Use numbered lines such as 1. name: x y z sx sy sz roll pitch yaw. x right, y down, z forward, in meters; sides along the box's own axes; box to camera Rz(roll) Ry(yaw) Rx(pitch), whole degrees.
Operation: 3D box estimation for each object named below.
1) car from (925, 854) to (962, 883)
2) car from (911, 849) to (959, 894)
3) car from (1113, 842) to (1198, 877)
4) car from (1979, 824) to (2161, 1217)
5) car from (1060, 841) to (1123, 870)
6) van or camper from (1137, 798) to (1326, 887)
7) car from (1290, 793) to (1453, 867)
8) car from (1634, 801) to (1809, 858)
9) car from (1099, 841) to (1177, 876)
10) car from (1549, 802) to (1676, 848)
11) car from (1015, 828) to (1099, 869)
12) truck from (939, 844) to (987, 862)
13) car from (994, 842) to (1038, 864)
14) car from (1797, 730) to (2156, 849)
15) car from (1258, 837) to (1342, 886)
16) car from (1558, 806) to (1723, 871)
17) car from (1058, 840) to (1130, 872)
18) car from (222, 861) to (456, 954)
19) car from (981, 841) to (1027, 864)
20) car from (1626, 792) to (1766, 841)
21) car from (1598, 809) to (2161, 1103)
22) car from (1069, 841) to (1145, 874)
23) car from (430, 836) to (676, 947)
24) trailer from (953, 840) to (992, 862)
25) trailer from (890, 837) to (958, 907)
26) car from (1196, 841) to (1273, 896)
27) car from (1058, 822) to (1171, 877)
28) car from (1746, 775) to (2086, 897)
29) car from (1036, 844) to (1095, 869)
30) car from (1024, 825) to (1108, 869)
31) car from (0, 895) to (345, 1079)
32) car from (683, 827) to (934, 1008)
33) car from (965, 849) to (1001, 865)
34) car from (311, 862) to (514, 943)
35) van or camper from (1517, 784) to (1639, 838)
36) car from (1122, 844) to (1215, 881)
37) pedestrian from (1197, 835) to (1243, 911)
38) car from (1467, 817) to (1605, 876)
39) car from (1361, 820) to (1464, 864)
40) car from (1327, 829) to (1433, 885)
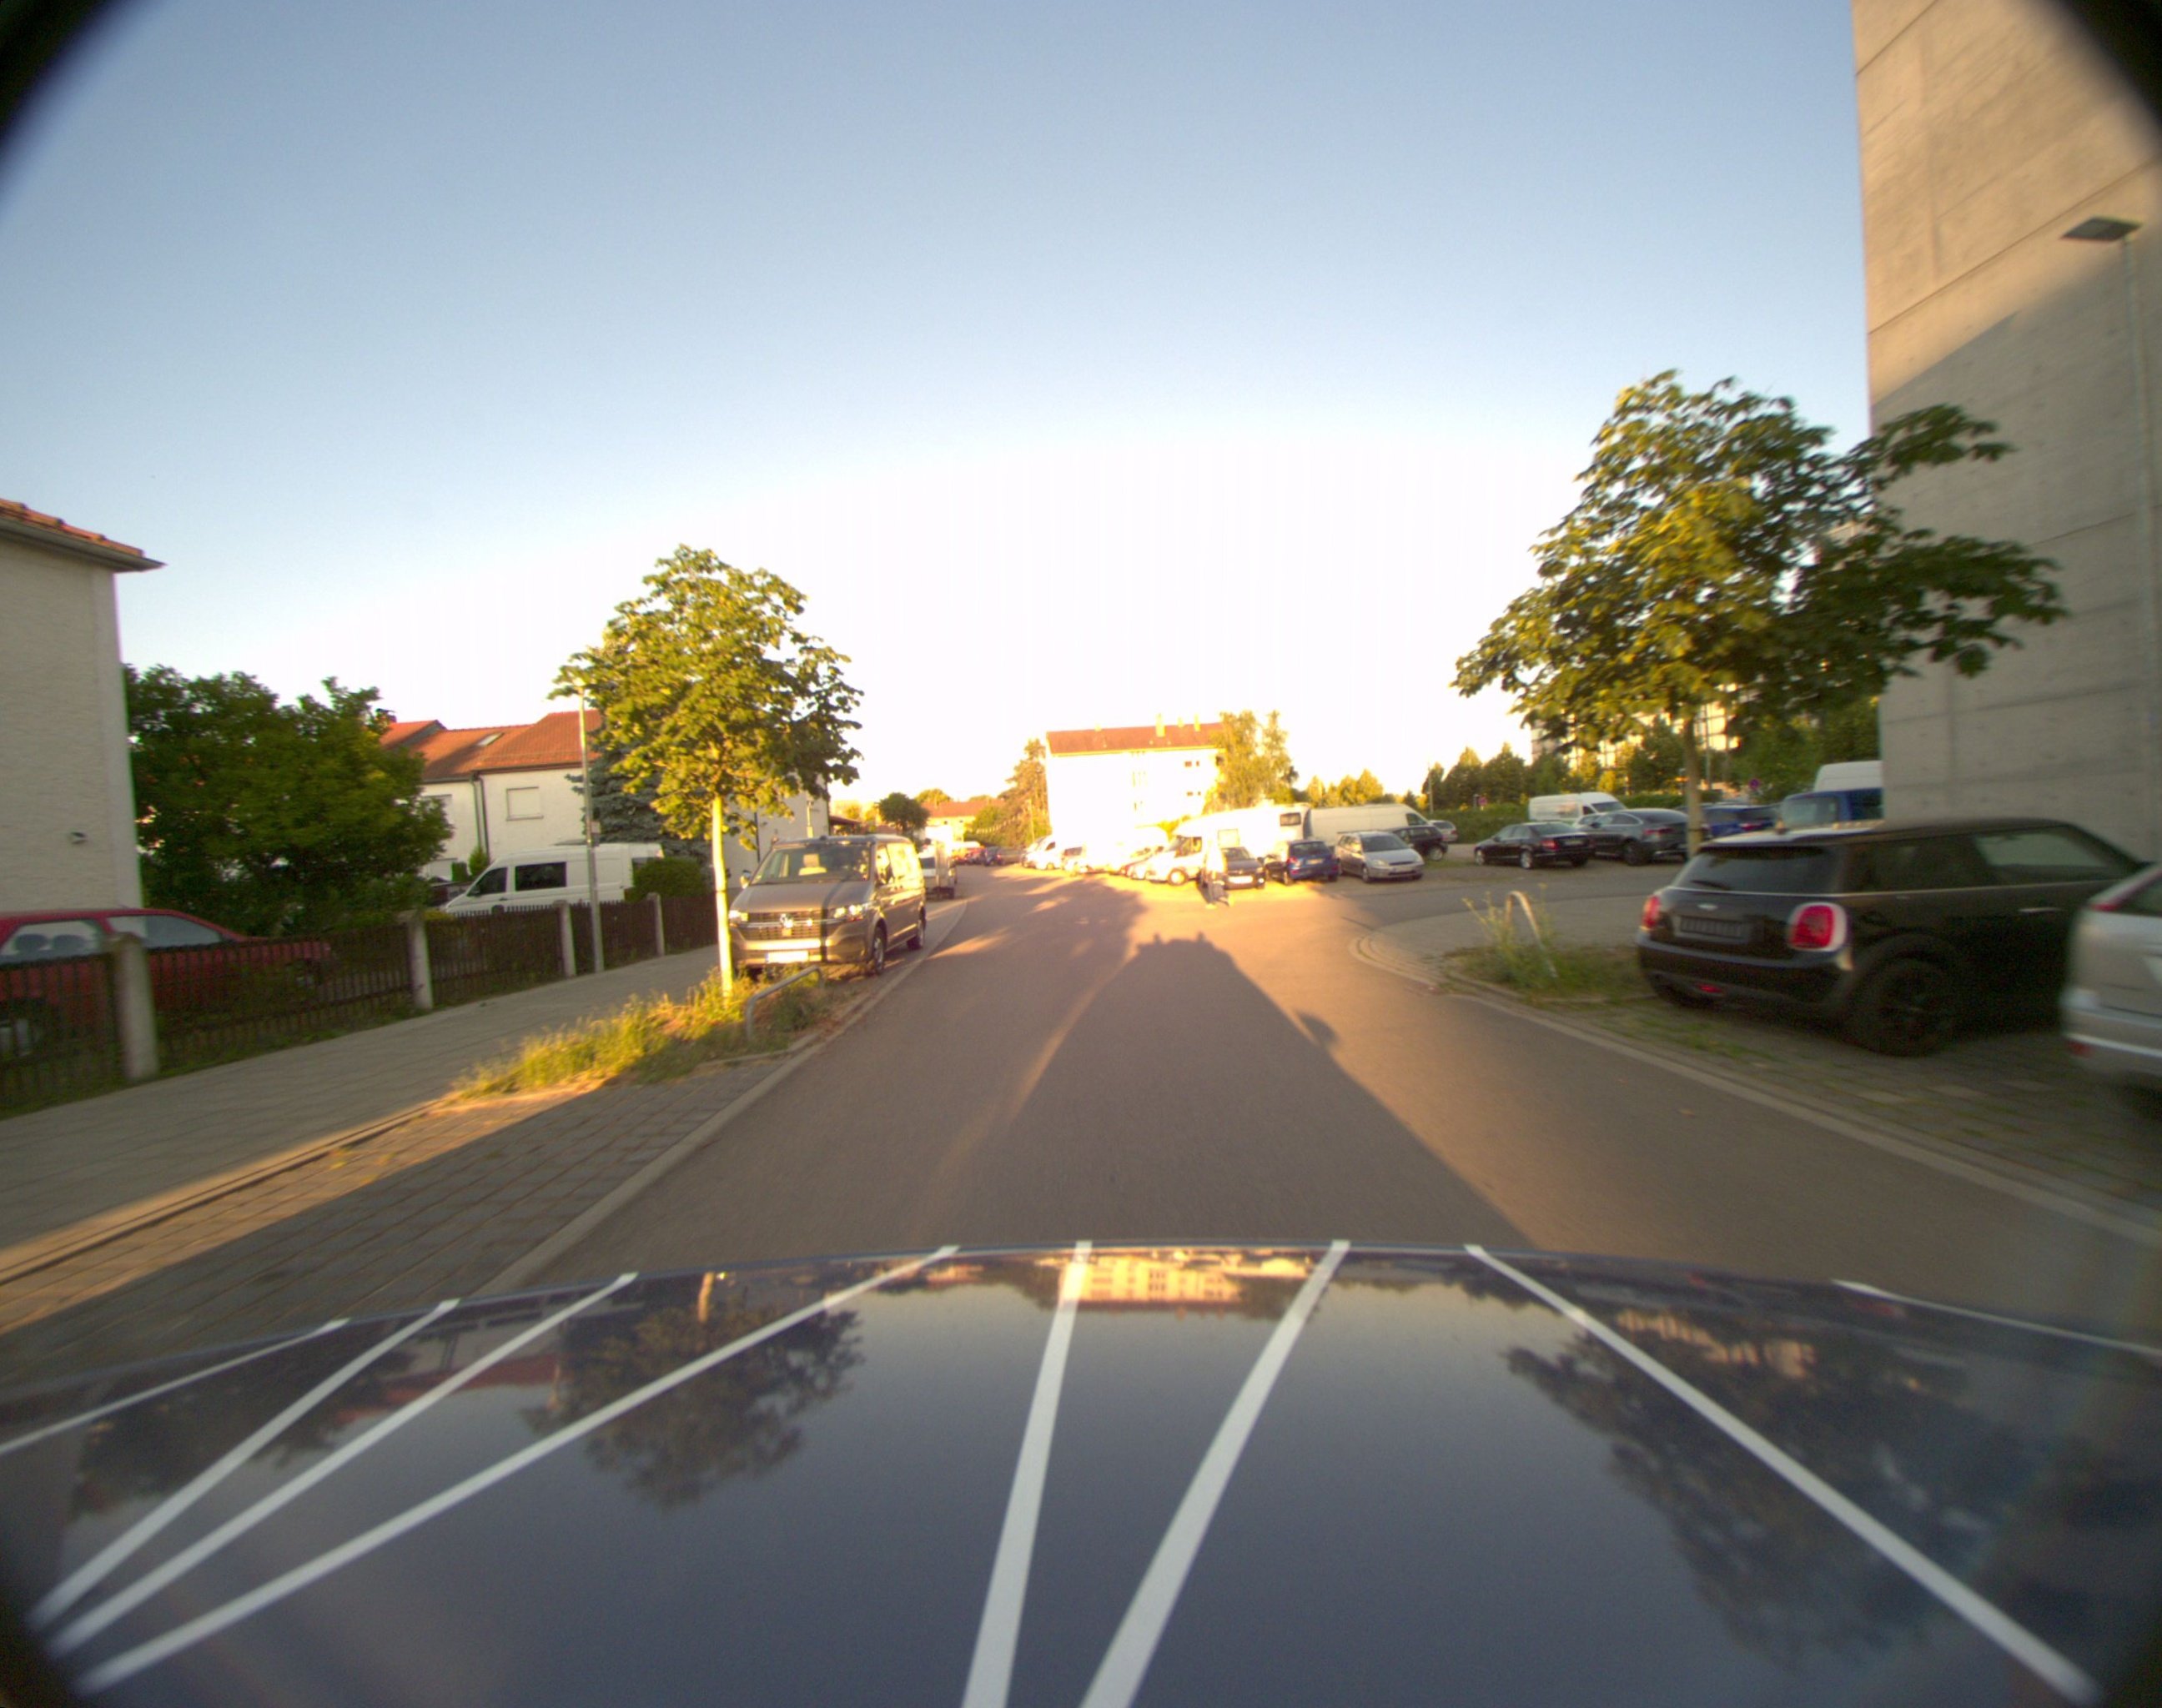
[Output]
1. car: -7.945 0.797 44.223 1.709 1.510 4.085 -3 1 -6
2. car: -6.582 0.717 34.638 1.776 1.820 4.404 -3 1 -7
3. car: 3.659 0.271 37.592 3.739 1.359 1.703 -5 2 -13
4. car: 6.345 0.531 2.794 4.097 1.520 1.845 -5 1 -4
5. car: 0.656 0.089 50.770 3.937 1.582 1.747 -4 2 -6
6. van or camper: 5.852 -0.462 30.028 6.760 2.881 2.407 -5 2 -6
7. car: 12.793 -1.070 33.680 6.260 2.658 2.222 -5 2 -4
8. car: 19.859 -0.848 23.840 1.667 1.492 4.401 -5 4 -1
9. car: 2.983 0.209 40.194 3.641 1.510 1.703 -5 2 -13
10. car: 20.373 -1.052 29.376 1.667 1.491 4.404 -5 1 -1
11. car: -1.956 -0.507 62.543 6.413 2.698 2.109 -6 3 -21
12. truck: -15.950 -0.171 102.988 6.034 2.032 2.352 -4 2 -17
13. car: -6.245 -0.097 73.016 3.939 1.643 1.746 -6 2 -12
14. car: 25.535 -1.662 22.345 2.212 2.786 6.982 -4 1 0
15. car: 7.308 0.192 25.675 1.667 1.414 3.721 -4 1 0
16. car: 16.900 -0.563 23.254 1.667 1.613 4.401 -5 4 -1
17. car: 0.801 0.129 48.074 4.140 1.582 1.745 -6 3 -13
18. car: -23.672 1.662 24.366 5.576 2.499 2.054 -4 0 4
19. car: -7.600 -0.128 75.161 3.942 1.901 1.744 -6 2 -27
20. car: 23.463 -1.386 29.254 1.667 1.612 4.404 -5 2 -1
21. car: 6.181 0.559 5.432 3.745 1.473 1.769 -5 1 -4
22. car: 1.546 0.179 45.947 4.140 1.582 1.746 -6 3 -11
23. car: -14.983 1.037 21.766 5.576 2.677 2.054 -4 0 4
24. trailer: -14.320 -0.364 100.369 4.809 2.420 2.131 -5 3 -13
25. trailer: -5.600 0.586 27.675 2.071 2.199 5.218 -3 1 -9
26. car: 5.022 0.409 25.470 1.690 1.510 4.360 -5 2 2
27. car: 1.871 -0.307 43.506 5.907 2.520 2.409 -6 3 -9
28. car: 15.125 -0.303 13.947 4.096 1.820 1.848 -4 0 0
29. car: -1.168 0.142 55.659 3.939 1.499 1.787 -5 2 -14
30. car: -1.172 -0.542 58.288 5.847 2.698 2.048 -6 2 -16
31. car: -10.359 1.304 7.980 1.532 1.436 3.640 -3 1 2
32. car: -3.758 0.735 11.619 2.071 2.083 4.870 -3 1 -1
33. car: -11.801 0.356 91.658 4.050 1.611 1.847 -4 2 -11
34. car: -23.679 1.680 27.040 5.456 2.430 2.054 -4 0 4
35. van or camper: 28.100 -2.323 43.354 2.020 2.675 6.635 -5 2 -5
36. car: 4.002 0.371 34.907 3.820 1.321 1.691 -5 2 -11
37. pedestrian: 3.522 0.471 19.328 0.901 1.840 0.856 -3 1 -1
38. car: 14.409 -0.320 24.386 1.667 1.472 4.401 -5 4 -1
39. car: 13.446 -0.491 30.902 3.448 1.439 1.513 -5 2 -4
40. car: 9.543 0.019 24.604 1.667 1.472 4.201 -5 3 0
